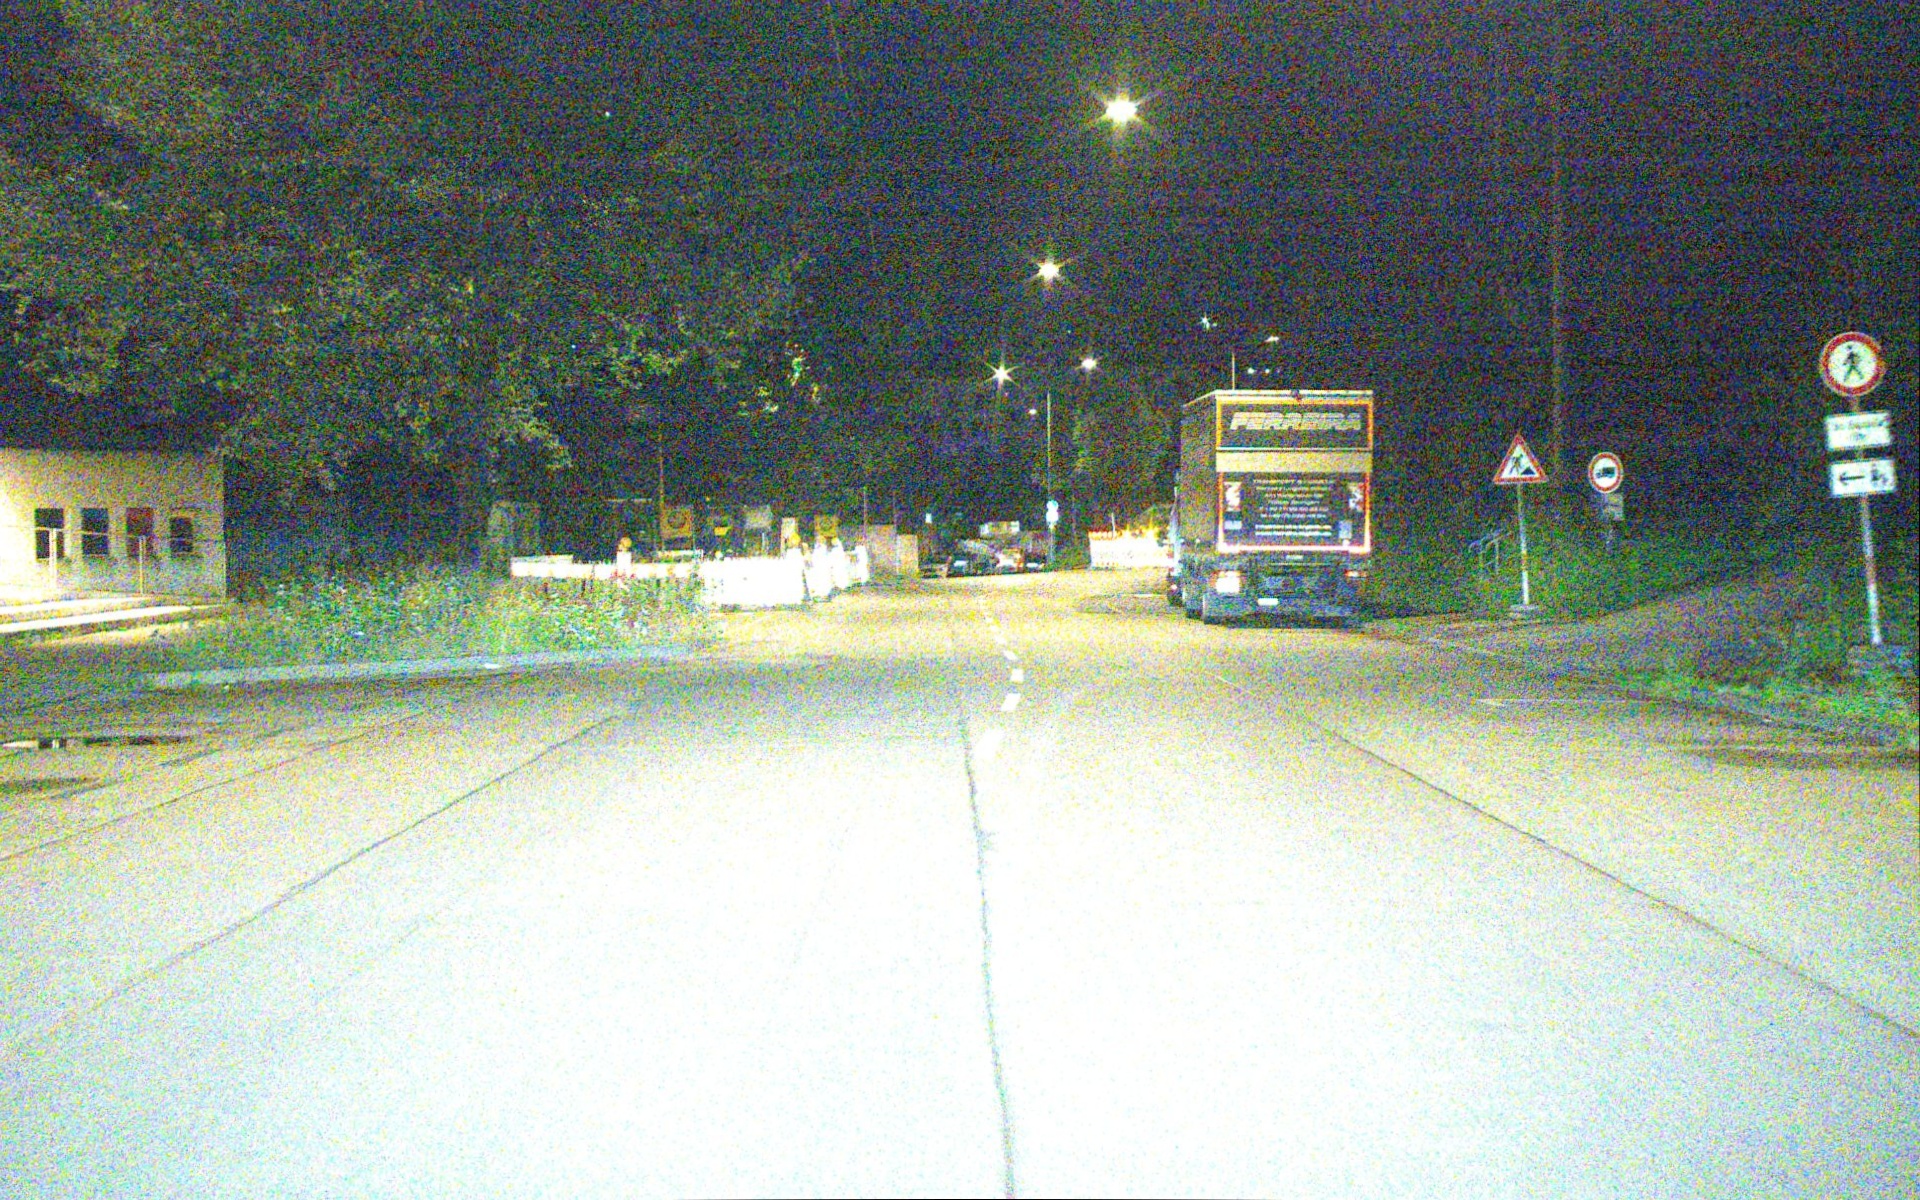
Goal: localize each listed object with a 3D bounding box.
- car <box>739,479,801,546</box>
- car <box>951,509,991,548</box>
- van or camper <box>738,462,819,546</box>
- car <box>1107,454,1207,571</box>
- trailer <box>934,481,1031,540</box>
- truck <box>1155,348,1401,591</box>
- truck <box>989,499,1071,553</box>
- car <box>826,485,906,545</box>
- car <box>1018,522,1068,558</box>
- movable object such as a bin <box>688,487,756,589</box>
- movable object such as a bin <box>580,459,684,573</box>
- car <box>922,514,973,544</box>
[{"bbox_3d":[-8.768,-4.009,159.028,2.519,2.917,7.202,-2,1,-1],"label":"car"},{"bbox_3d":[0.487,-3.156,152.160,1.720,1.655,4.000,0,0,0],"label":"car"},{"bbox_3d":[-7.032,-3.695,134.263,2.519,3.083,7.445,-2,1,1],"label":"van or camper"},{"bbox_3d":[4.384,-1.977,77.322,2.109,2.507,6.371,1,2,2],"label":"car"},{"bbox_3d":[0.870,-3.564,137.394,1.559,2.153,5.222,-2,0,-27],"label":"trailer"},{"bbox_3d":[5.356,-2.177,59.694,3.324,3.855,9.328,0,1,0],"label":"truck"},{"bbox_3d":[4.569,-4.781,221.718,1.996,3.392,8.968,1,2,24],"label":"truck"},{"bbox_3d":[-5.132,-4.665,188.971,2.520,3.160,7.133,-2,1,14],"label":"car"},{"bbox_3d":[4.384,-3.121,180.558,1.722,1.815,3.997,0,0,15],"label":"car"},{"bbox_3d":[-6.714,-1.769,96.626,1.570,2.724,3.702,-3,2,-7],"label":"movable object such as a bin"},{"bbox_3d":[-7.364,-1.862,77.043,1.548,2.459,2.840,-2,1,-21],"label":"movable object such as a bin"},{"bbox_3d":[-0.740,-4.237,204.822,1.995,1.694,4.203,0,0,15],"label":"car"}]
